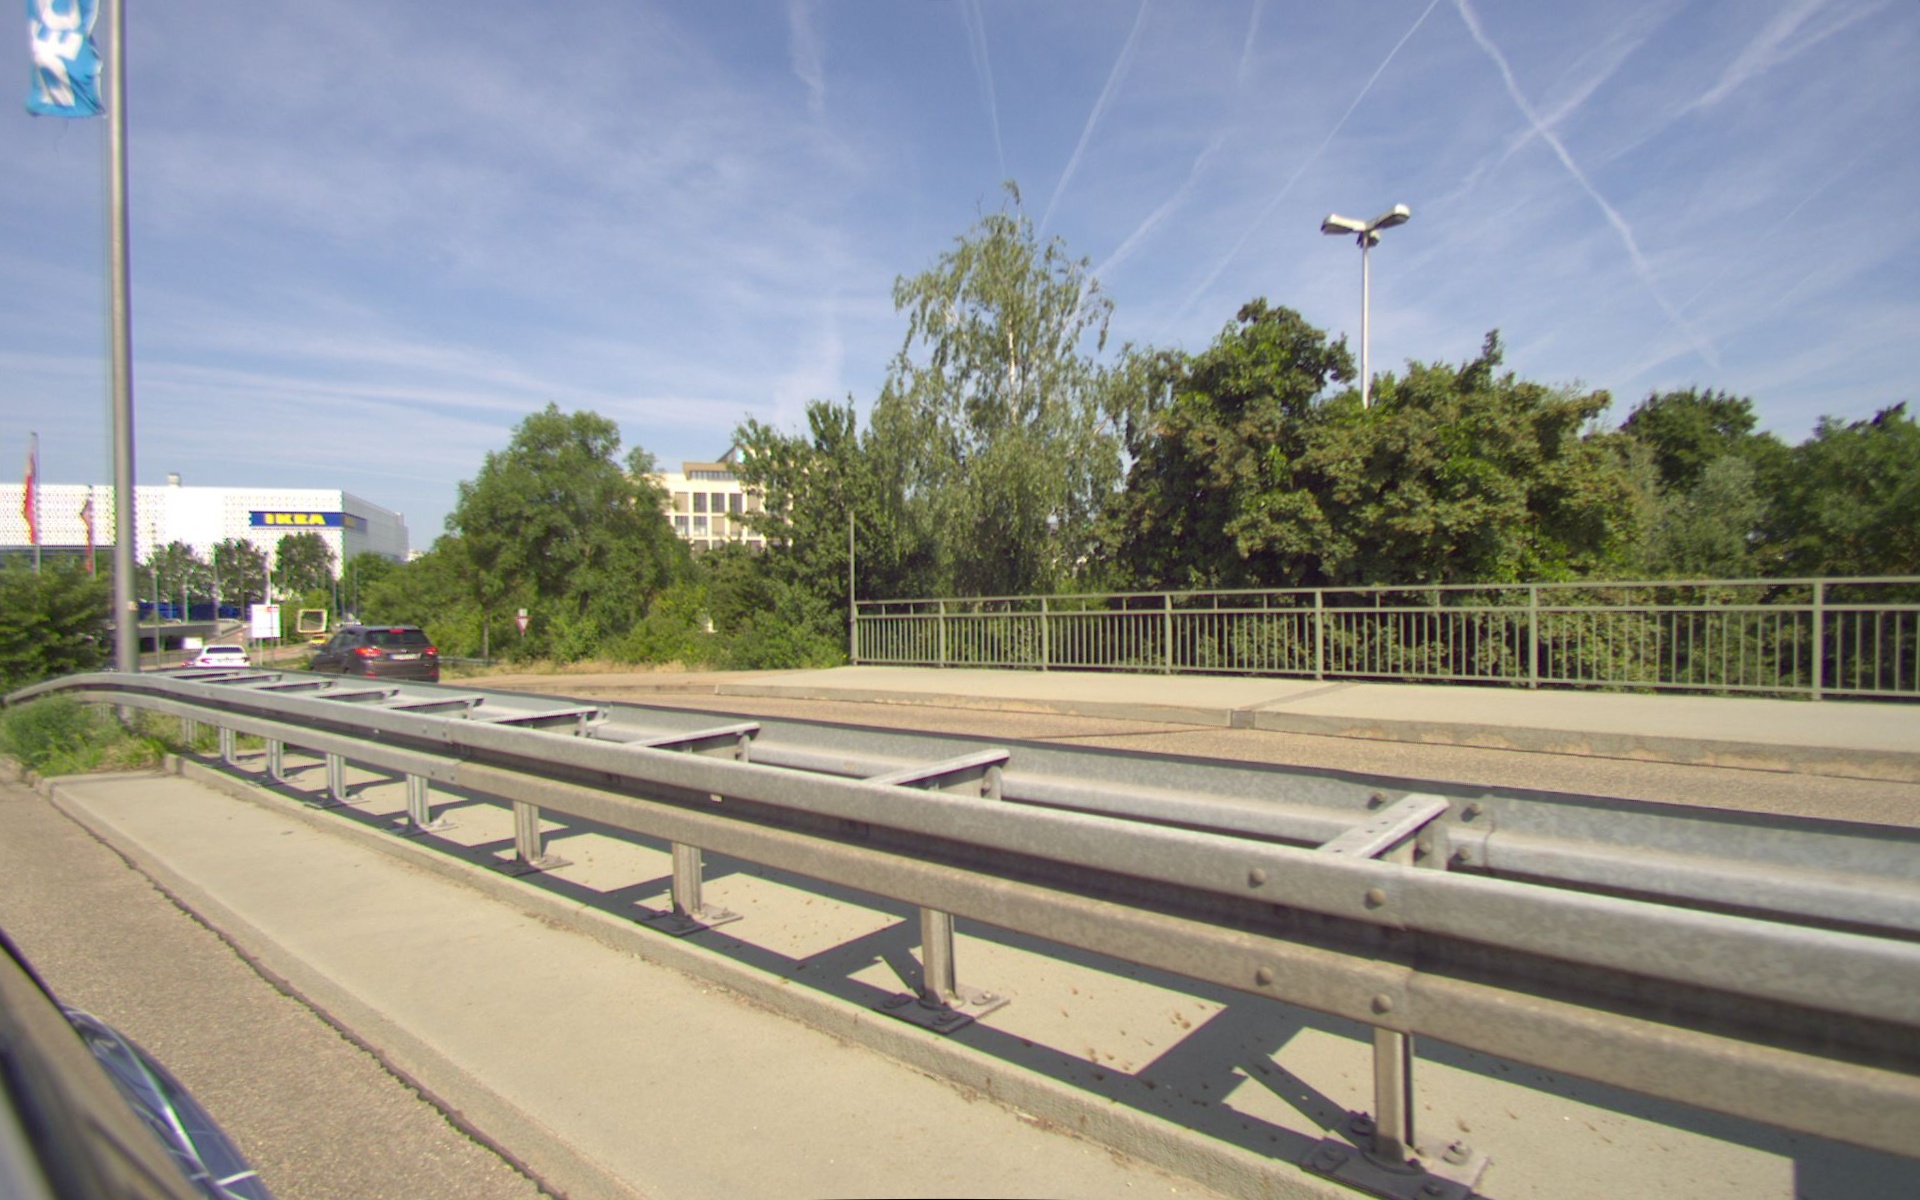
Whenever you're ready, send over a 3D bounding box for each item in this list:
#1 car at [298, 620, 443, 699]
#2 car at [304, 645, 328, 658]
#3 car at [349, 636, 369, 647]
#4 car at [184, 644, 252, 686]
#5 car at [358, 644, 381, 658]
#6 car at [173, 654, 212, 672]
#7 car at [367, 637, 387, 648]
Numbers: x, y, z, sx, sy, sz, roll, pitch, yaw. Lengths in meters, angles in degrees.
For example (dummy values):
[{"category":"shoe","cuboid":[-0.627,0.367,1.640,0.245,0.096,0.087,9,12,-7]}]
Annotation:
[{"category":"car","cuboid":[-13.865,1.413,23.696,4.225,1.648,1.861,-5,-4,44]},{"category":"car","cuboid":[-85.227,6.767,133.905,1.795,1.485,4.013,0,0,-19]},{"category":"car","cuboid":[-91.899,6.397,154.795,1.796,1.485,4.012,0,0,-16]},{"category":"car","cuboid":[-28.946,2.490,39.454,1.775,1.563,4.005,2,-3,-41]},{"category":"car","cuboid":[-74.255,6.419,127.238,1.833,1.541,4.150,0,0,-41]},{"category":"car","cuboid":[-74.411,6.115,98.182,1.795,1.485,4.013,0,0,-19]},{"category":"car","cuboid":[-88.331,6.435,153.384,1.795,1.485,4.013,0,0,-19]}]
